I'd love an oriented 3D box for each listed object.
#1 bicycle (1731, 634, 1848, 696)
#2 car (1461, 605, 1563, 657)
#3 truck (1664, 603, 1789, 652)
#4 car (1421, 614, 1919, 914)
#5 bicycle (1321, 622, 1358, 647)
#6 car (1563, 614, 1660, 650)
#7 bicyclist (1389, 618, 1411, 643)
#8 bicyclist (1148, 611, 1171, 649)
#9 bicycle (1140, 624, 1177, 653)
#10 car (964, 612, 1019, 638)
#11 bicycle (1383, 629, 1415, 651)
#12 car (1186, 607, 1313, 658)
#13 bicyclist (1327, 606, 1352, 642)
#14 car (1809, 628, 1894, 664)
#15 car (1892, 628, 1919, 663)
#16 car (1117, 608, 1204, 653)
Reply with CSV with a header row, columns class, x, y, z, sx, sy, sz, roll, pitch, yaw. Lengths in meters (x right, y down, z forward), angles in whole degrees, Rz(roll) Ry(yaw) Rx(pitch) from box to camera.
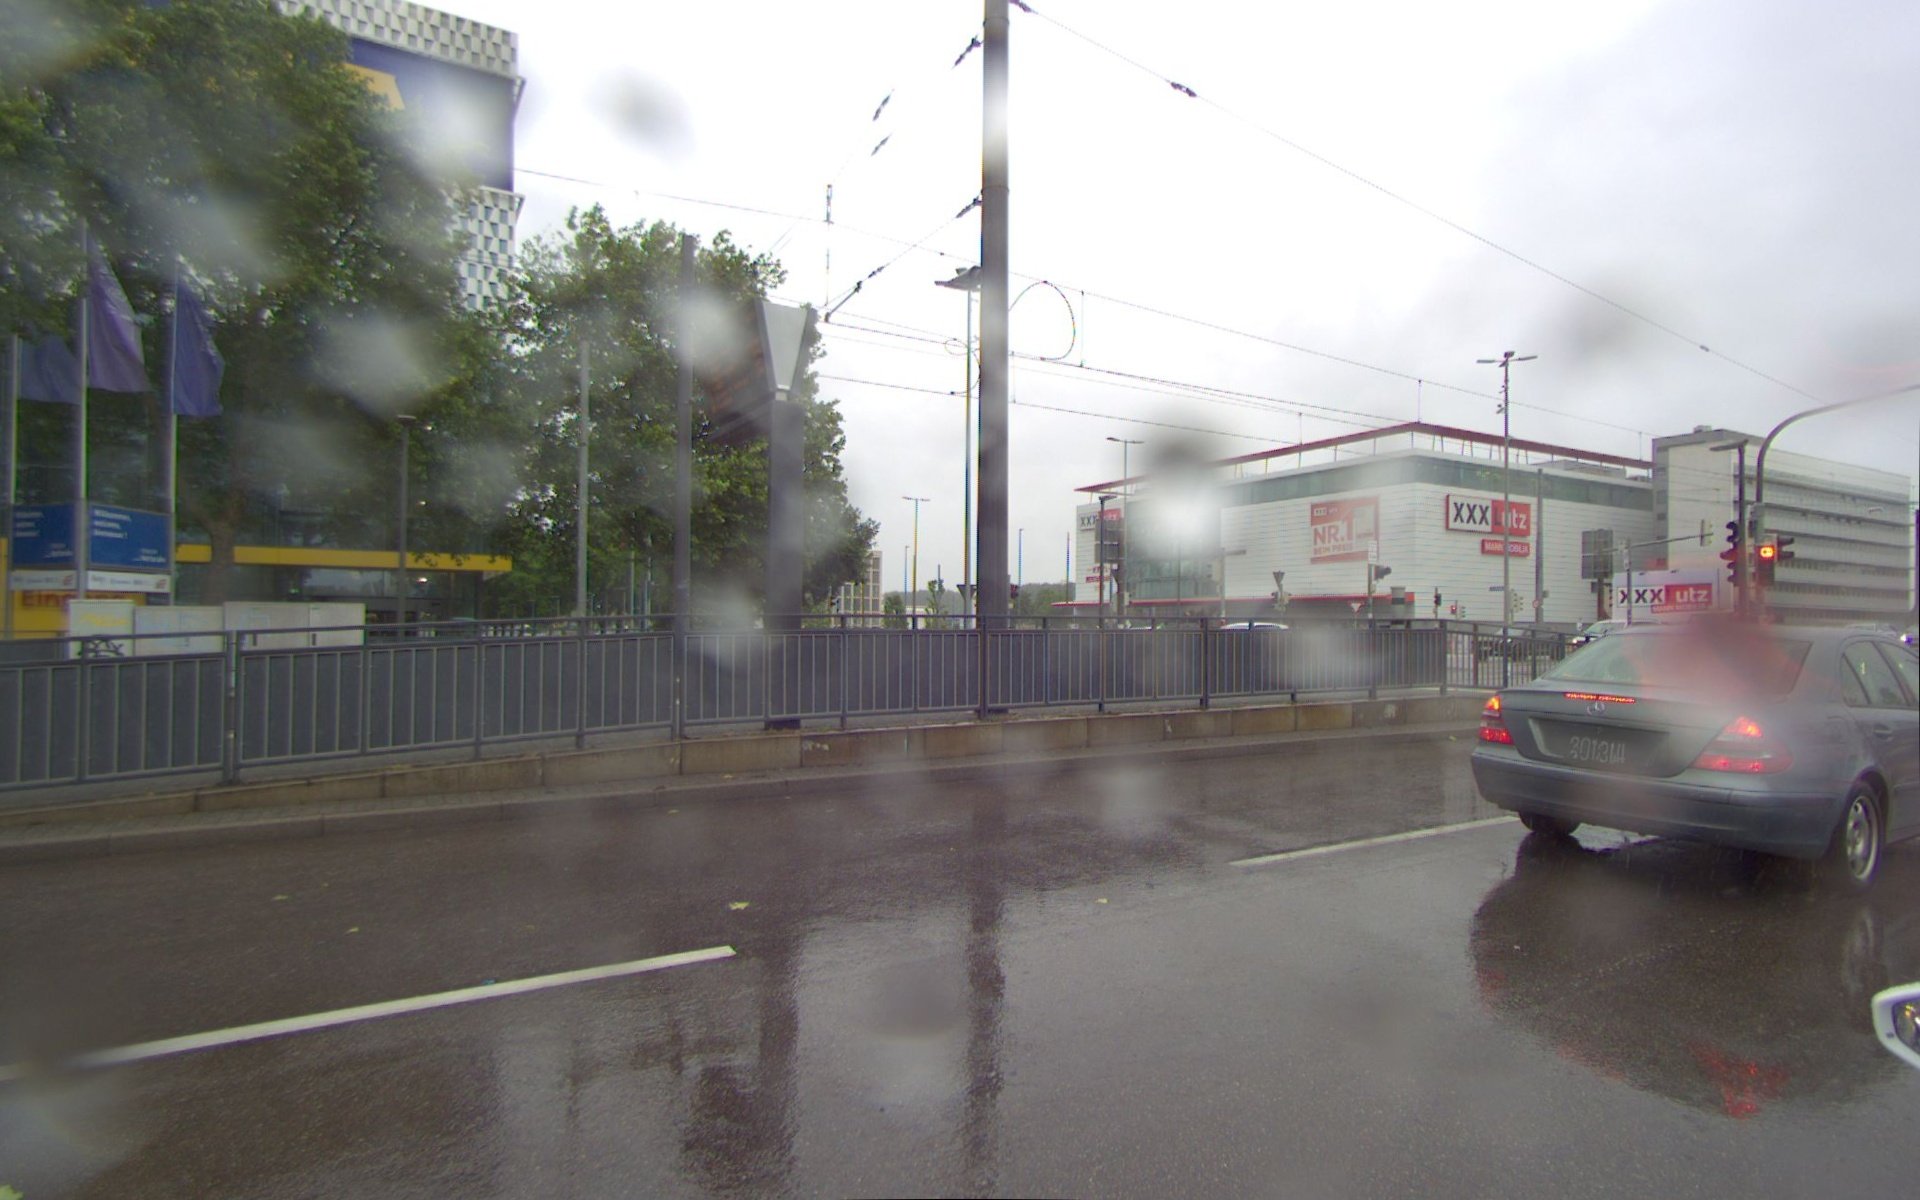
class,x,y,z,sx,sy,sz,roll,pitch,yaw
bicycle,16.837,1.300,20.438,0.409,1.048,1.742,2,3,-31
car,23.796,1.372,43.285,3.950,1.928,1.987,5,-6,-27
truck,39.382,1.420,51.541,7.542,2.309,2.341,2,0,-30
car,5.364,0.886,6.804,4.591,1.417,1.754,2,0,-30
bicycle,16.074,1.467,42.532,1.688,1.000,0.448,2,0,-30
car,26.710,1.309,41.173,3.780,1.354,1.582,2,0,-26
bicyclist,20.757,1.432,47.423,0.639,1.149,0.681,2,0,-29
bicyclist,7.573,1.127,38.138,0.643,1.418,0.529,2,0,-33
bicycle,7.563,1.456,38.179,1.493,1.075,0.408,2,0,-33
car,2.189,1.738,70.212,3.723,1.645,2.001,2,0,2
bicycle,20.740,1.897,47.486,1.688,1.000,0.448,2,0,-30
car,9.198,1.028,31.860,3.830,1.512,1.690,2,0,-30
bicyclist,16.068,1.005,42.538,0.639,1.483,0.681,2,0,-29
car,45.698,2.347,51.473,3.947,1.722,1.886,2,0,-26
car,54.216,2.559,56.016,3.947,1.851,1.923,2,0,-26
car,9.994,1.502,50.393,1.976,2.040,4.295,2,0,-29
